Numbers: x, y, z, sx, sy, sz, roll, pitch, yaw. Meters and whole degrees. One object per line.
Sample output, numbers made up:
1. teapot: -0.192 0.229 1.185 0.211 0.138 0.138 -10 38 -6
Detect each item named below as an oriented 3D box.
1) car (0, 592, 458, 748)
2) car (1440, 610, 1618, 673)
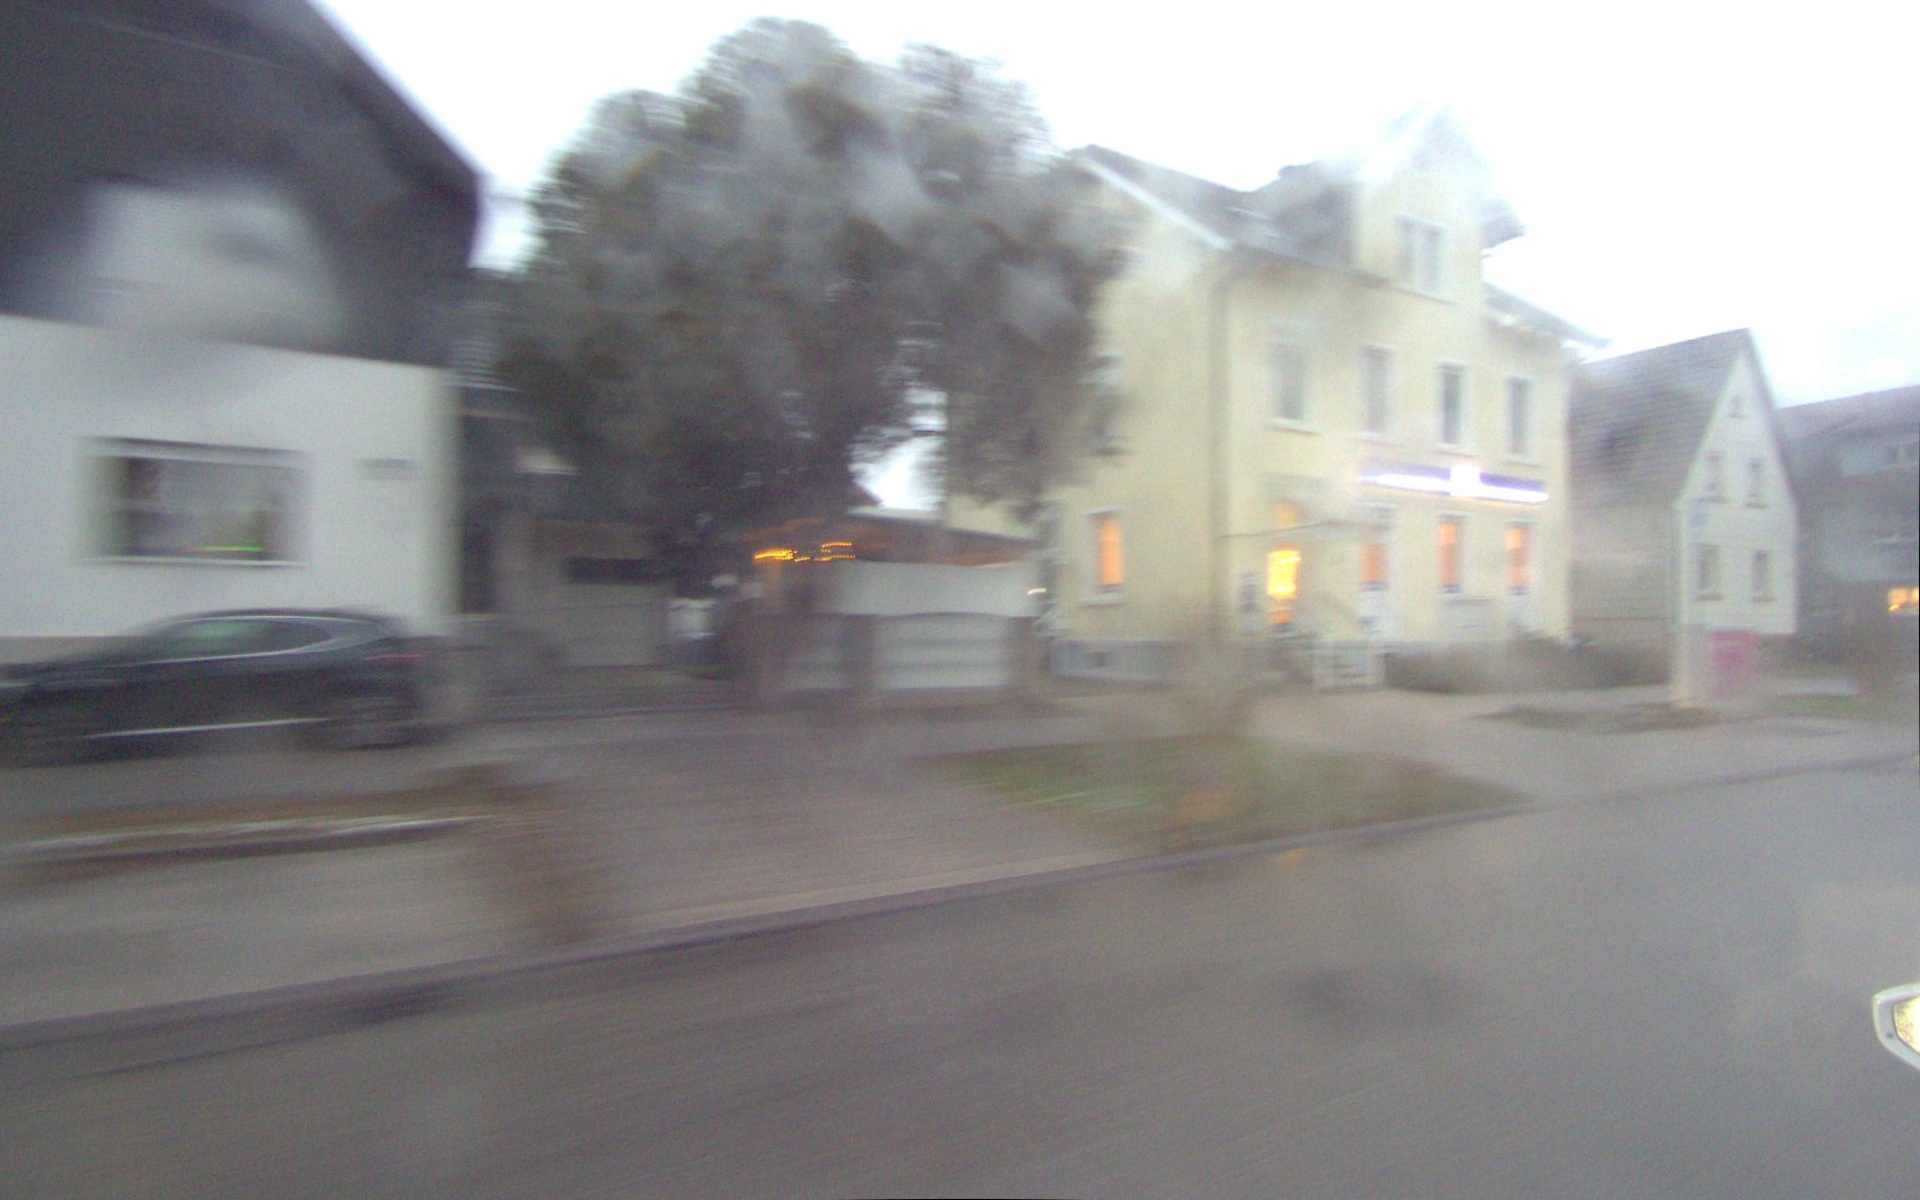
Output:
1. car: -7.467 0.674 10.497 3.949 1.384 1.775 1 -1 -28
2. car: 15.814 1.115 28.131 1.899 1.621 3.969 1 -1 -29
